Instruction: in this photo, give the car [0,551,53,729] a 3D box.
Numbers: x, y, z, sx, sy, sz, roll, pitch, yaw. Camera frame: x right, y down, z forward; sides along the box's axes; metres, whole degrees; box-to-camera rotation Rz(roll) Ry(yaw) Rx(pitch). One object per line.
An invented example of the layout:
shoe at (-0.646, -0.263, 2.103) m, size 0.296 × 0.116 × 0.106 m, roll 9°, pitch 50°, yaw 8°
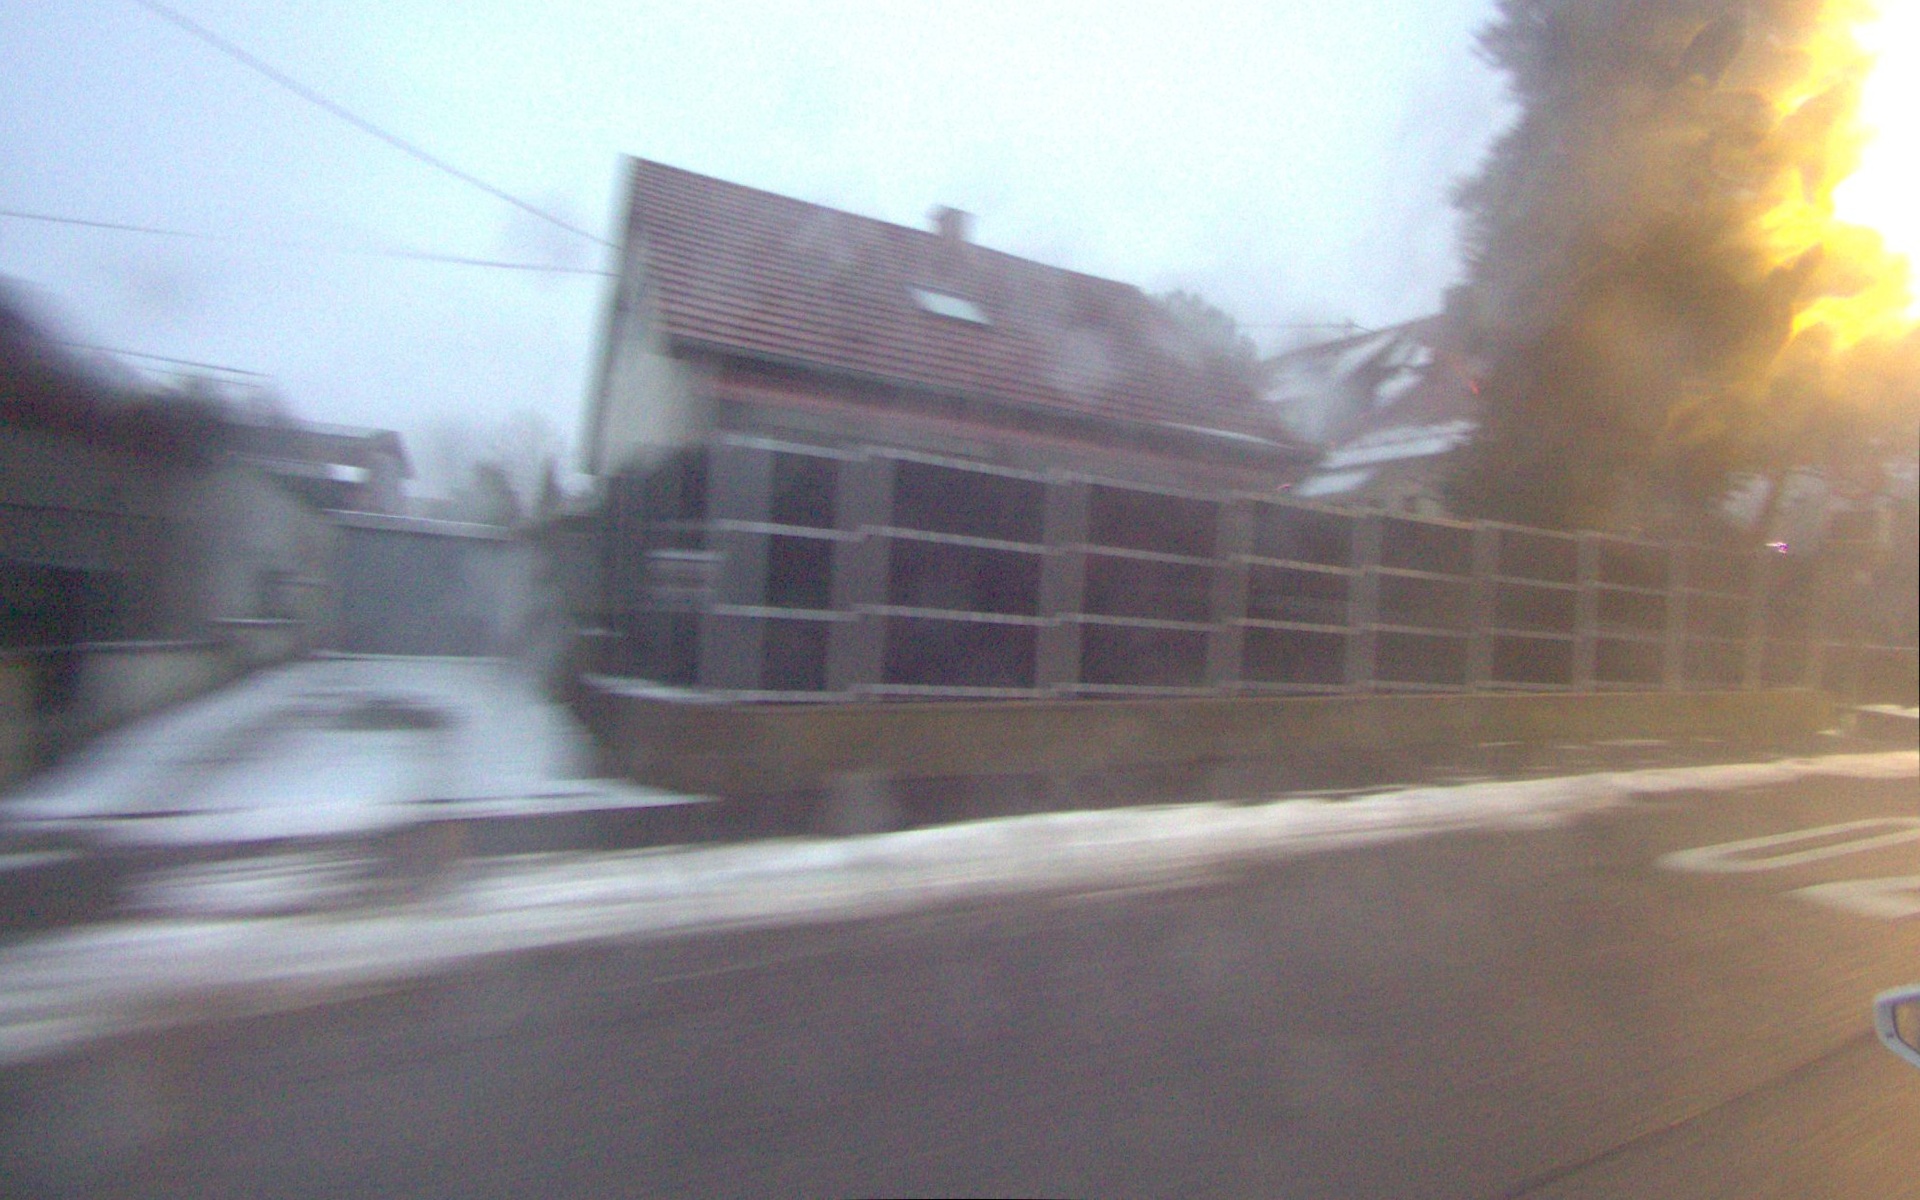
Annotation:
car at (-9.537, 0.373, 8.533) m, size 1.773 × 1.669 × 3.968 m, roll 4°, pitch 0°, yaw -29°
